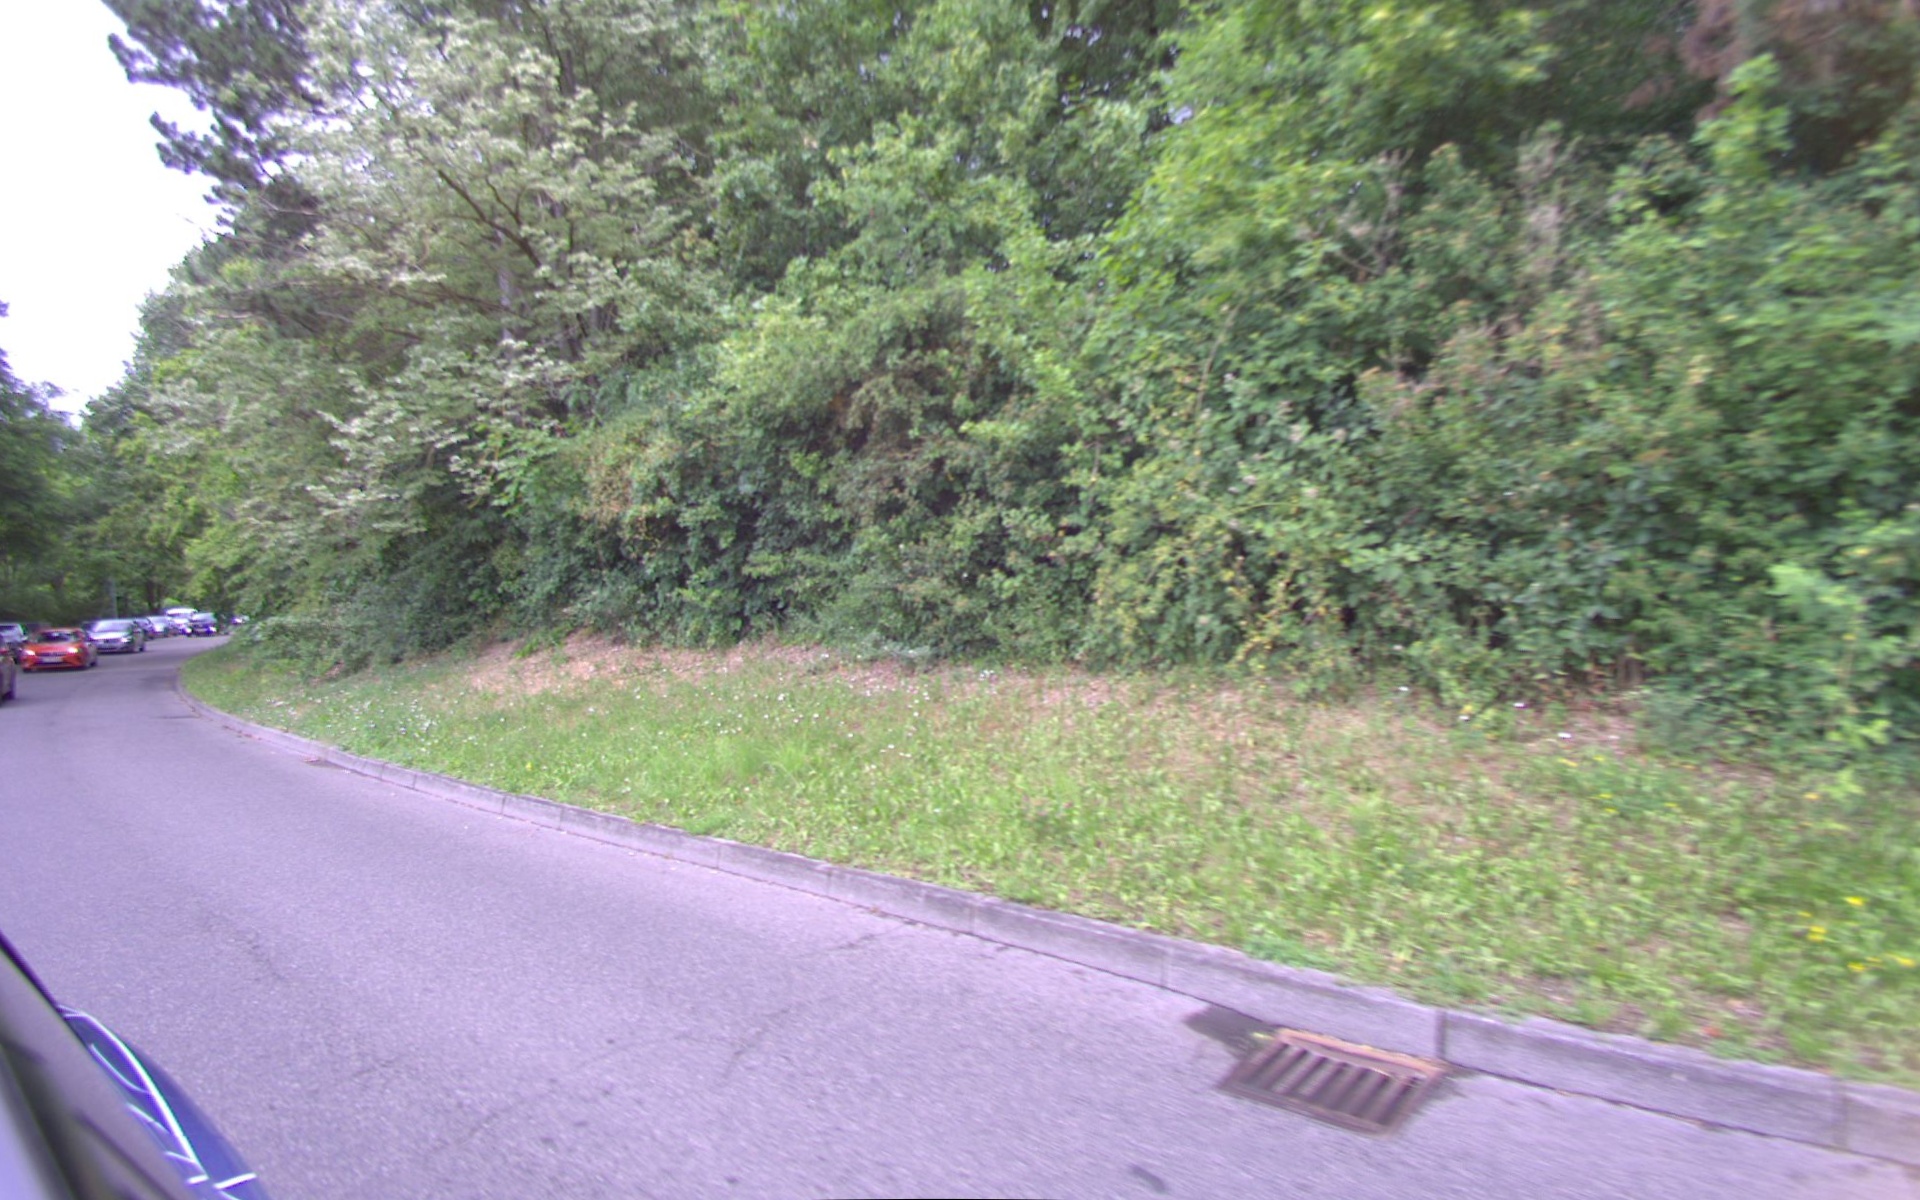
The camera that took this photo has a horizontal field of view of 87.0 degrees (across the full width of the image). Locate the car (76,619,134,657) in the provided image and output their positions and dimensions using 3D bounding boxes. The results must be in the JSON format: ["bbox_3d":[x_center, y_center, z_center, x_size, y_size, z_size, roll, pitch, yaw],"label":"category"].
[{"bbox_3d":[-40.208,1.755,47.653,1.893,1.694,4.008,1,-1,-38],"label":"car"}]

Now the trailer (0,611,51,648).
[{"bbox_3d":[-42.858,1.317,46.454,1.355,1.616,2.273,-1,0,-35],"label":"trailer"}]

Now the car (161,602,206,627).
[{"bbox_3d":[-56.811,1.024,74.095,1.836,1.739,4.189,-1,0,-27],"label":"car"}]

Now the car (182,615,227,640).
[{"bbox_3d":[-50.640,1.816,67.870,1.739,1.529,4.013,-2,1,-27],"label":"car"}]

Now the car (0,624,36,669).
[{"bbox_3d":[-38.893,1.888,40.747,1.816,1.697,4.612,-3,1,-35],"label":"car"}]

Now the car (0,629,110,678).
[{"bbox_3d":[-31.518,1.806,35.376,1.836,1.460,4.189,-2,0,-27],"label":"car"}]

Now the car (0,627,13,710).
[{"bbox_3d":[-21.489,1.441,21.440,1.969,1.641,4.631,-2,0,-42],"label":"car"}]
